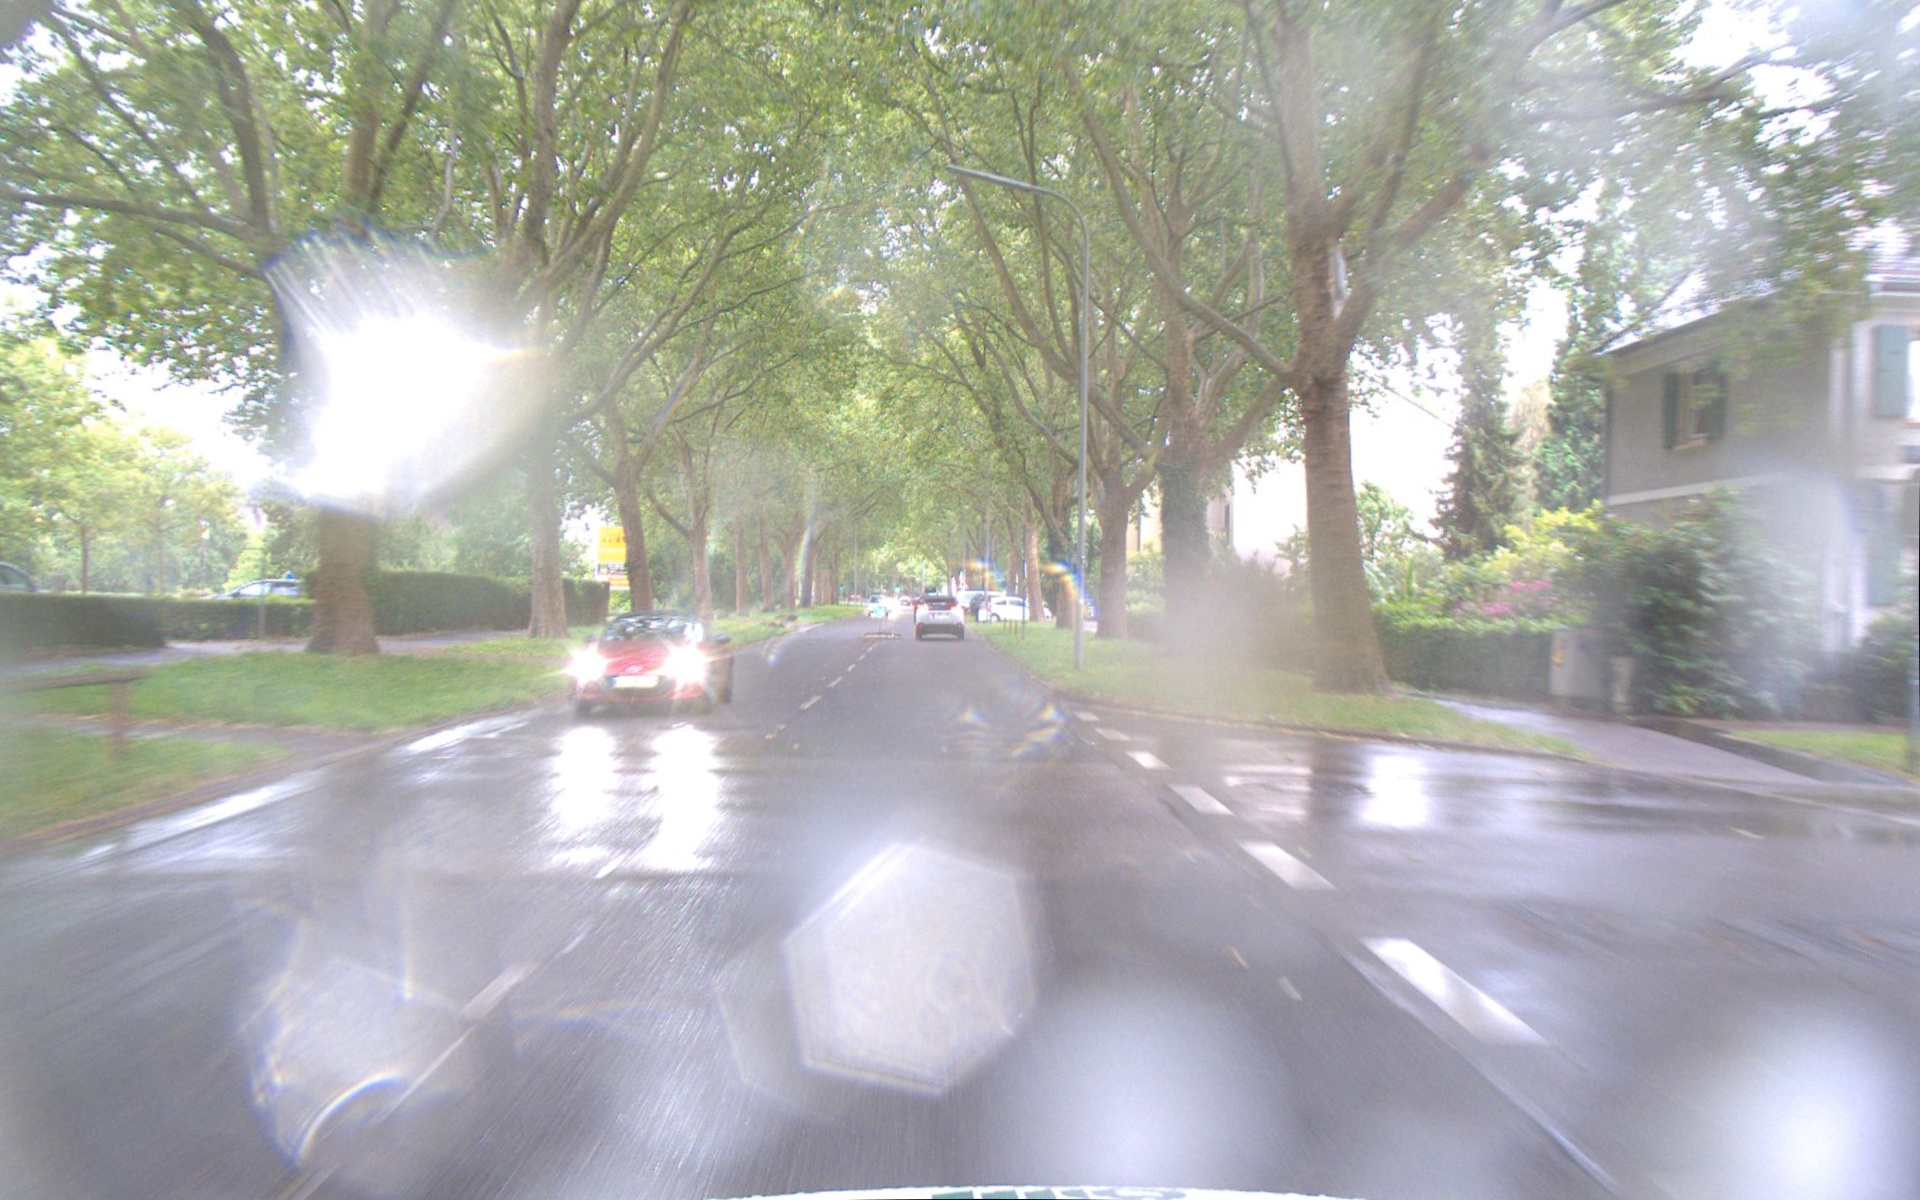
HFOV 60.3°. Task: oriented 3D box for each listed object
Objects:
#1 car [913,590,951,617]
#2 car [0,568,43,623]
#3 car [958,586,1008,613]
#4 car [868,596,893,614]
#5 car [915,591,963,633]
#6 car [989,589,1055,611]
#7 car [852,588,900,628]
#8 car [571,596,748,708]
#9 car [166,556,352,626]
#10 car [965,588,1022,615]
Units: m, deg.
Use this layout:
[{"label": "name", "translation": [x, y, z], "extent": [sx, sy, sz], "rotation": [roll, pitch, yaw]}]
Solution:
[{"label": "car", "translation": [-1.489, 0.190, 88.043], "extent": [1.953, 1.340, 3.999], "rotation": [2, 0, -1]}, {"label": "car", "translation": [-22.443, -0.187, 35.907], "extent": [3.906, 1.154, 2.000], "rotation": [3, 0, -2]}, {"label": "car", "translation": [1.629, -0.044, 118.843], "extent": [3.476, 1.873, 1.711], "rotation": [0, 0, -3]}, {"label": "car", "translation": [-6.009, 0.355, 124.873], "extent": [1.685, 1.276, 4.000], "rotation": [3, 0, -1]}, {"label": "car", "translation": [-0.767, 0.400, 59.386], "extent": [1.671, 1.436, 3.644], "rotation": [0, 1, -1]}, {"label": "car", "translation": [3.379, 0.017, 90.948], "extent": [3.477, 1.175, 1.710], "rotation": [0, 0, -4]}, {"label": "car", "translation": [-3.092, 0.281, 61.220], "extent": [1.671, 1.436, 3.644], "rotation": [0, 1, -1]}, {"label": "car", "translation": [-3.768, 0.608, 21.288], "extent": [1.671, 1.272, 3.644], "rotation": [0, 1, -1]}, {"label": "car", "translation": [-18.099, -0.228, 42.858], "extent": [3.906, 1.651, 2.000], "rotation": [2, 0, -1]}, {"label": "car", "translation": [2.115, 0.115, 104.583], "extent": [3.476, 1.674, 1.711], "rotation": [0, 0, -3]}]
